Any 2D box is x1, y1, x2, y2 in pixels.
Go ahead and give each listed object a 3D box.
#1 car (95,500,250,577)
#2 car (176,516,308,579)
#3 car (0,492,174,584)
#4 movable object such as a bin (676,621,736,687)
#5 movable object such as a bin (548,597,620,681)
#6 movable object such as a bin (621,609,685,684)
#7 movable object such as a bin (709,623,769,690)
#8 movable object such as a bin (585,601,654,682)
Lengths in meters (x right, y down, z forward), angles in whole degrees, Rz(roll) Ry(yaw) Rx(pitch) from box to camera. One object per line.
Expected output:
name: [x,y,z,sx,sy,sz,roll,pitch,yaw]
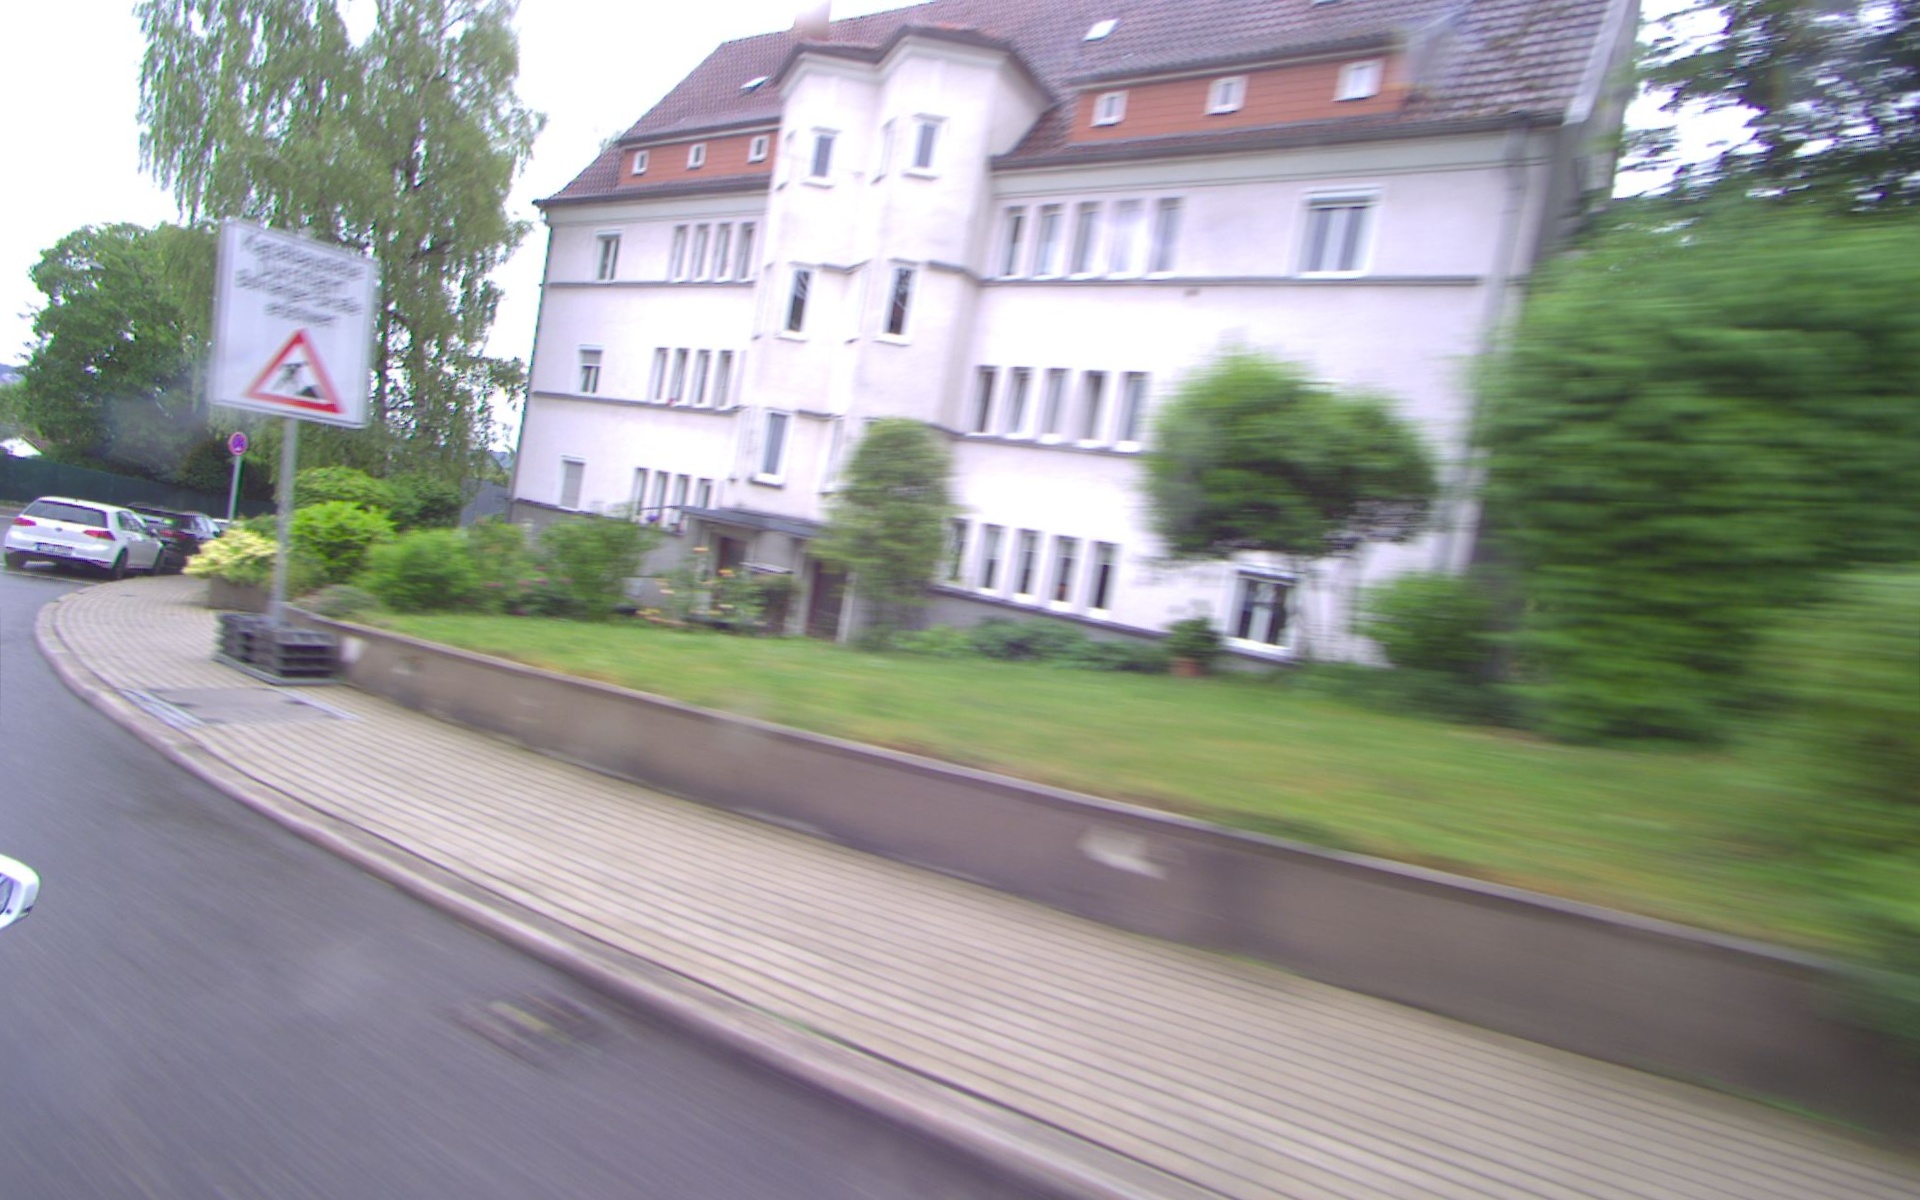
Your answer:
car: [-19.835,-1.525,25.556,1.607,1.537,4.307,8,0,-19]
car: [-21.439,-1.520,30.242,1.705,1.481,4.020,8,-1,-14]
car: [-17.988,-1.243,20.815,1.775,1.463,4.078,8,-1,-26]
movable object such as a bin: [-3.899,0.834,15.436,0.679,0.909,0.482,7,0,37]
movable object such as a bin: [-5.091,0.527,13.615,0.679,1.025,0.530,7,0,37]
movable object such as a bin: [-4.458,0.680,14.610,0.679,0.981,0.482,7,0,37]
movable object such as a bin: [-3.485,0.892,15.850,0.679,0.954,0.482,7,0,37]
movable object such as a bin: [-4.806,0.588,14.205,0.679,1.025,0.530,7,0,37]
